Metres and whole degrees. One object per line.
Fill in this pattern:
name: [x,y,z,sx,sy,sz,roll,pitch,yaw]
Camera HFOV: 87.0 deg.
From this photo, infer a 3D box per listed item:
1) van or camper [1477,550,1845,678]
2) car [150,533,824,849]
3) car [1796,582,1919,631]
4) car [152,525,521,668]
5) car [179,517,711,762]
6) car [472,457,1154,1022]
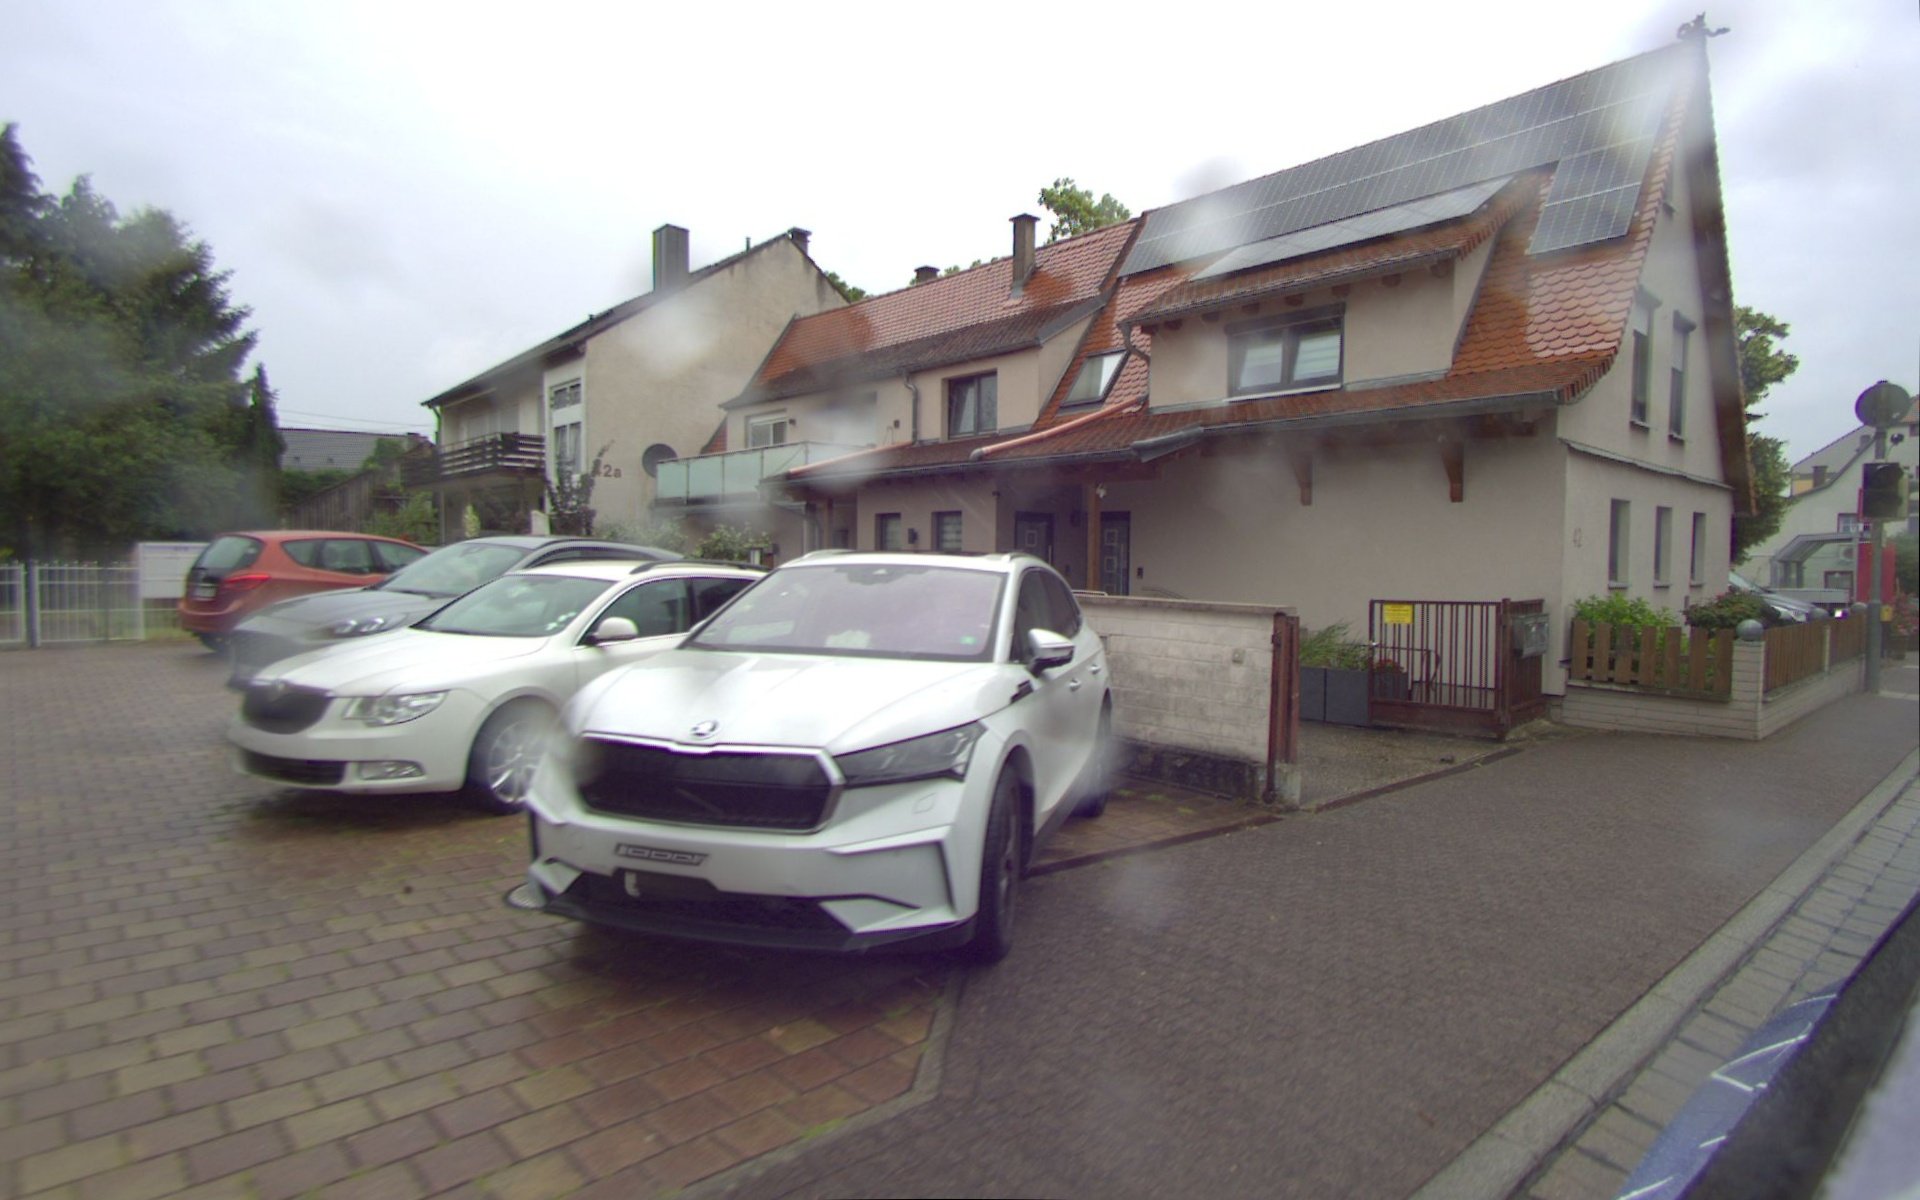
van or camper: [12.165,0.231,17.890,1.845,1.947,5.072,-1,0,-43]
car: [-2.864,0.411,7.261,1.856,1.535,4.259,1,1,23]
car: [30.237,0.180,33.046,1.660,1.499,4.250,0,1,-25]
car: [-8.399,-0.072,14.043,1.793,1.666,4.029,2,1,27]
car: [-4.431,0.234,9.458,1.792,1.696,4.183,4,2,26]
car: [-0.124,0.438,5.380,1.851,1.610,4.594,0,-1,16]
